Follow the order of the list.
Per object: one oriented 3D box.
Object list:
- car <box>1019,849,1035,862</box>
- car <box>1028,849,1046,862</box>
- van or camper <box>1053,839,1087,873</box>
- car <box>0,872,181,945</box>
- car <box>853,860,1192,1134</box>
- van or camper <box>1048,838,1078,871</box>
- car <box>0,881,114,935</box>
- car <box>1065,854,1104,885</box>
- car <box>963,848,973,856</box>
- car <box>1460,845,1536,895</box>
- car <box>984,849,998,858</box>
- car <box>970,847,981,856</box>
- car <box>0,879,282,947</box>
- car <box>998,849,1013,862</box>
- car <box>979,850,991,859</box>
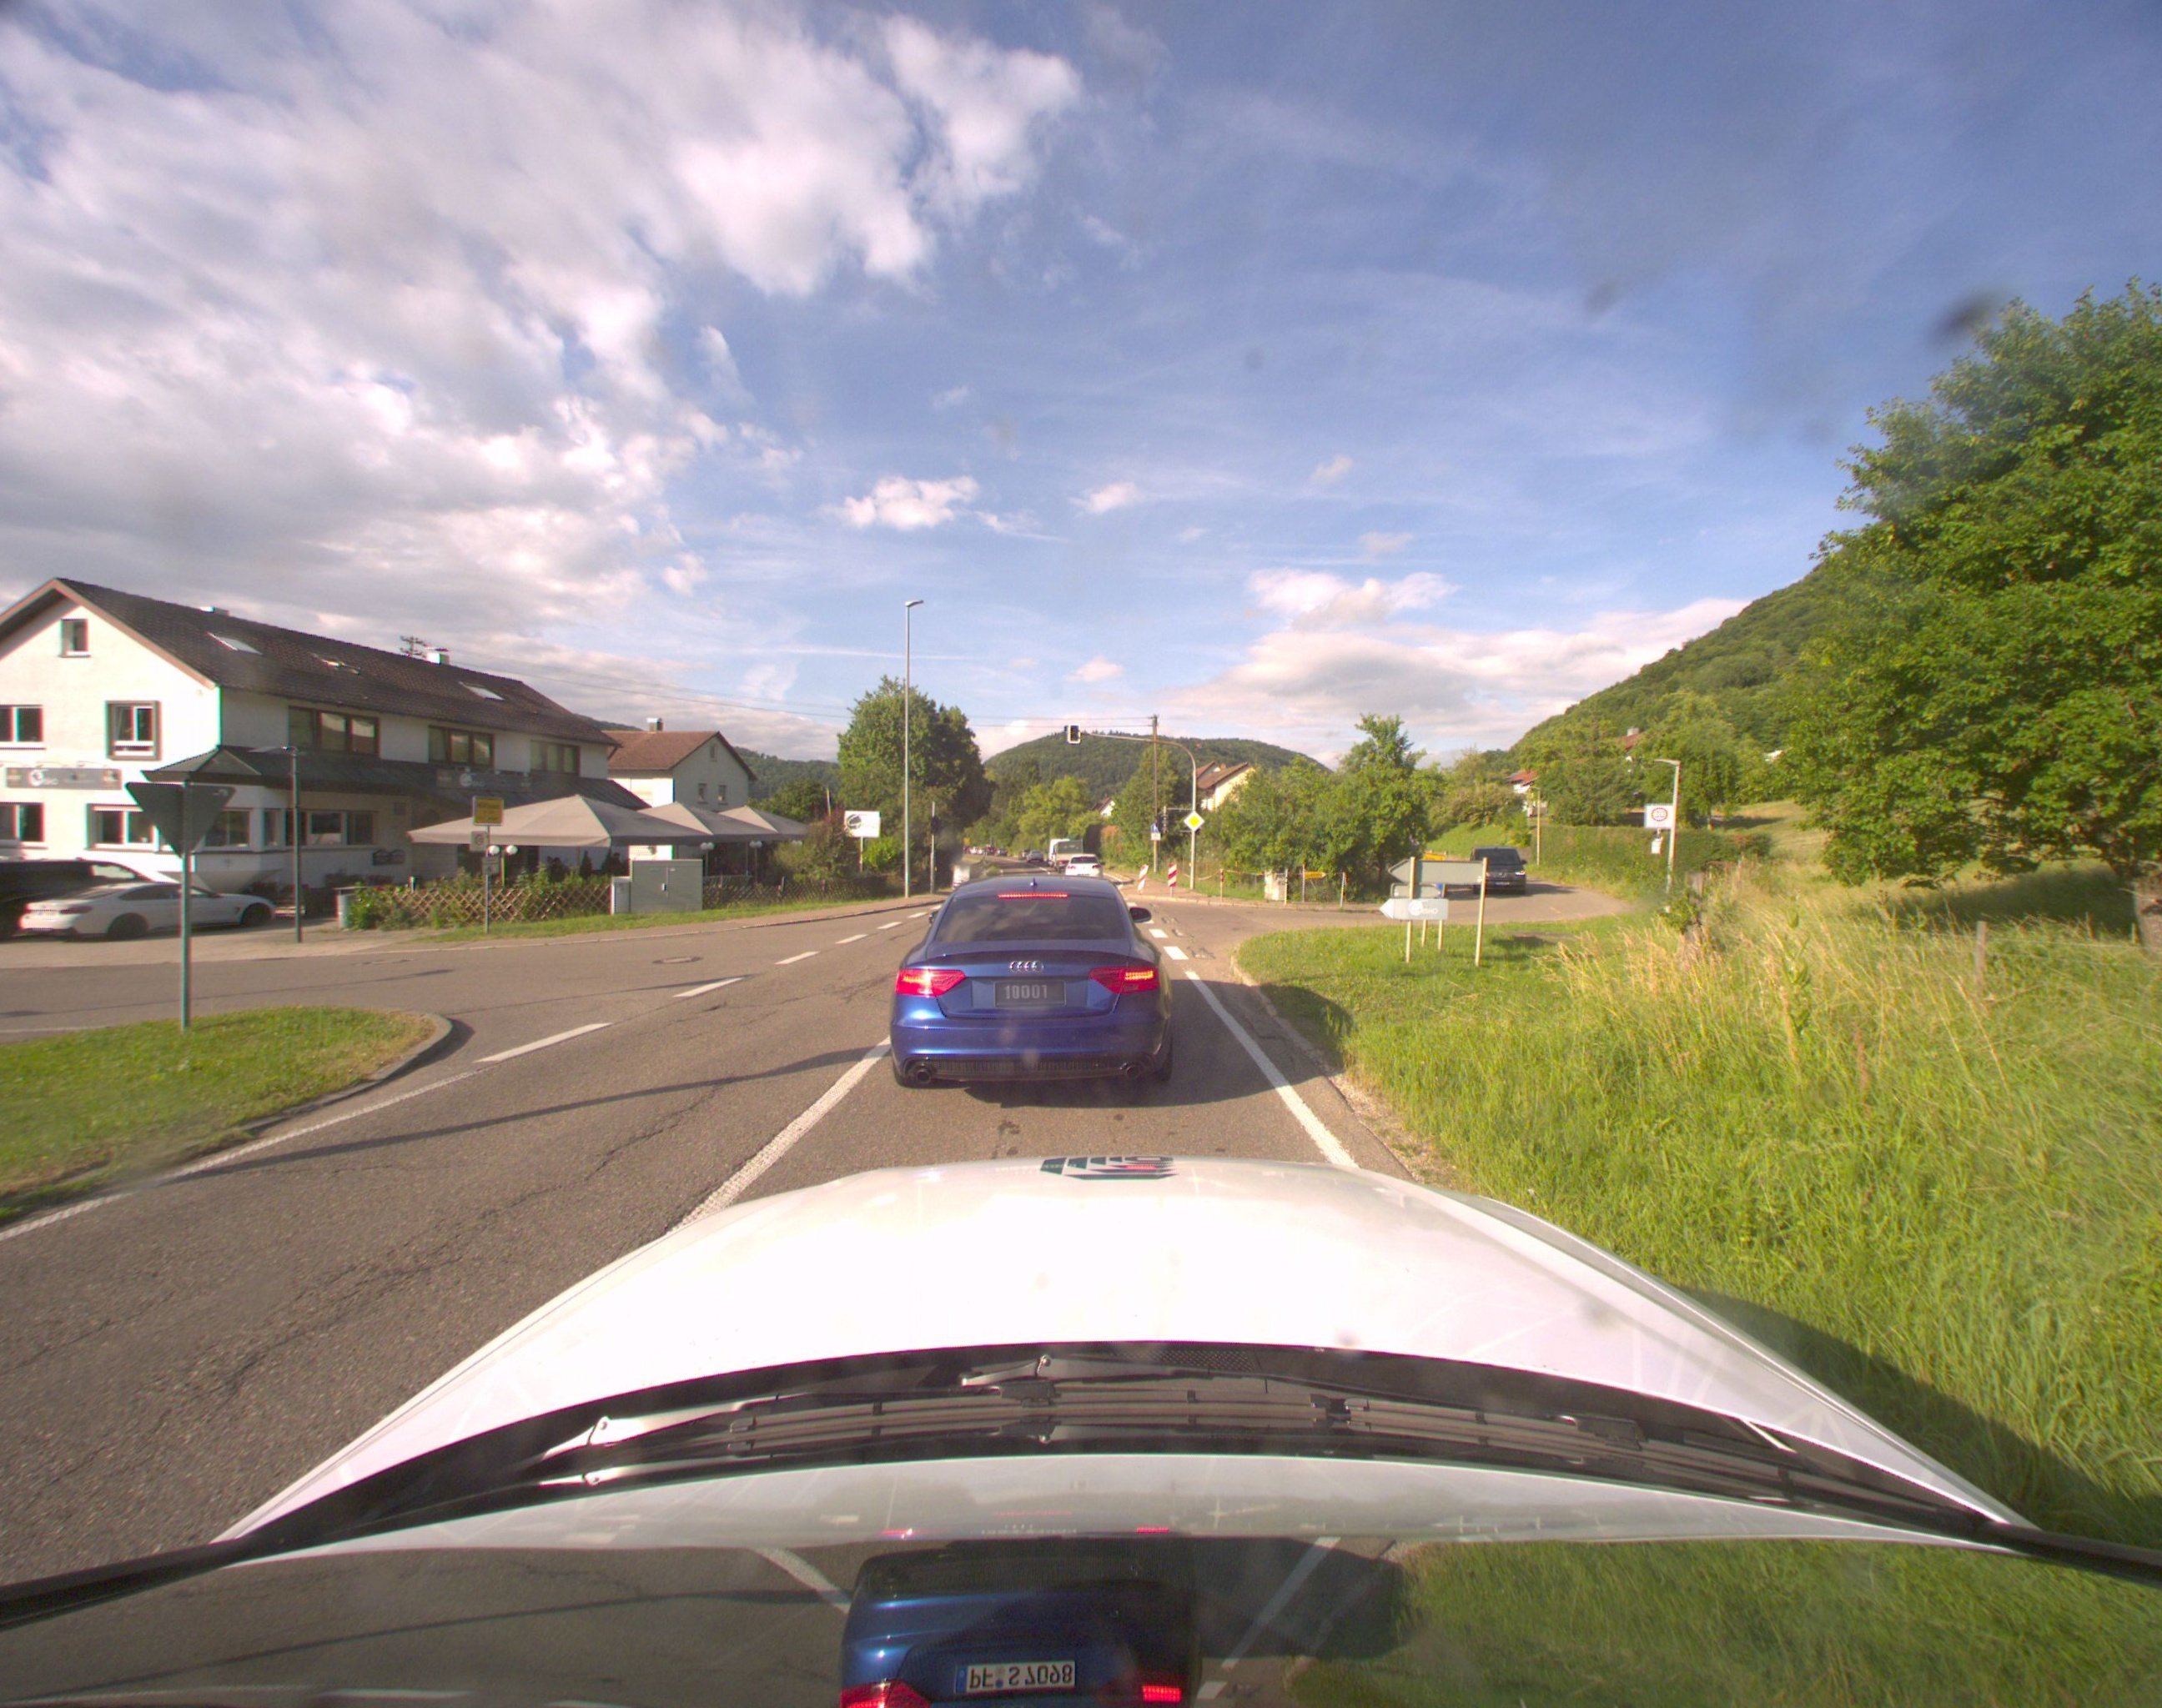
[{"bbox_3d":[-7.264,0.195,109.424,1.796,1.794,3.987,-1,0,-9],"label":"car"},{"bbox_3d":[-5.315,0.144,97.663,1.819,1.552,3.988,-1,1,-9],"label":"car"},{"bbox_3d":[-0.881,0.144,61.050,2.176,2.385,5.362,-1,0,-4],"label":"van or camper"},{"bbox_3d":[-27.336,1.407,21.421,1.984,1.685,4.582,-2,0,5],"label":"car"},{"bbox_3d":[-0.310,0.799,6.601,1.824,1.409,4.226,-2,0,0],"label":"car"},{"bbox_3d":[-1.732,0.050,75.696,2.410,2.904,6.122,-1,0,-4],"label":"van or camper"},{"bbox_3d":[-30.397,1.538,22.375,1.984,1.389,4.582,-2,0,5],"label":"car"},{"bbox_3d":[0.179,0.717,39.323,1.765,1.415,4.174,1,0,0],"label":"car"},{"bbox_3d":[-24.716,-0.377,178.441,1.774,1.783,3.982,-1,0,-13],"label":"car"},{"bbox_3d":[17.235,0.590,33.896,1.978,1.876,4.893,1,1,17],"label":"car"},{"bbox_3d":[-16.405,-0.127,148.588,2.043,1.684,3.982,-1,1,-13],"label":"car"},{"bbox_3d":[-21.504,-0.563,165.987,1.751,1.783,3.982,-1,0,-13],"label":"car"},{"bbox_3d":[-24.638,1.475,21.670,1.984,1.389,4.582,-2,0,5],"label":"car"},{"bbox_3d":[-12.779,0.267,137.036,1.995,2.013,3.983,-1,0,-12],"label":"car"},{"bbox_3d":[-18.551,0.026,157.087,1.944,1.684,3.982,-2,0,-13],"label":"car"}]
